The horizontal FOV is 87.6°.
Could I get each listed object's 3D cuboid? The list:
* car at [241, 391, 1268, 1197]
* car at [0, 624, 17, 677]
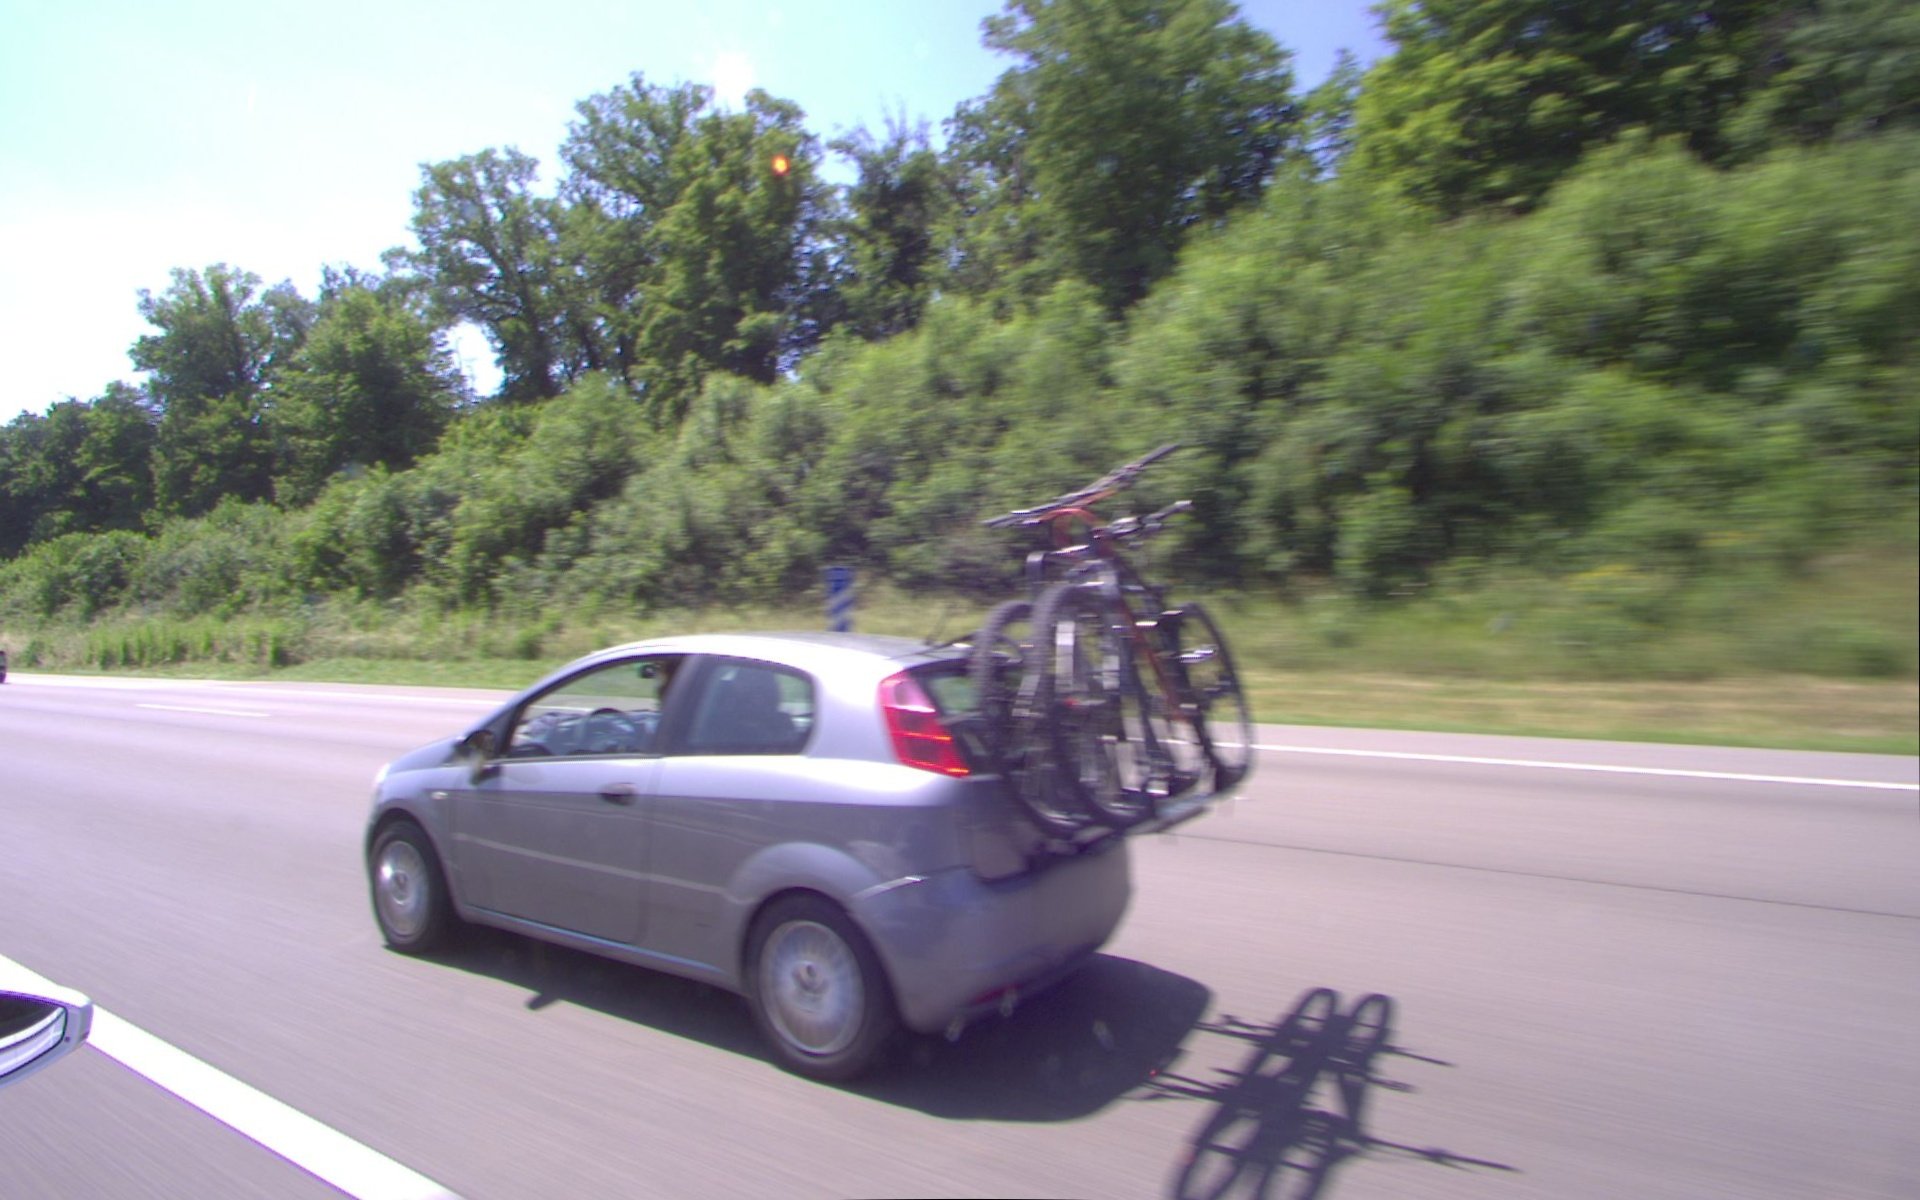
[{"bbox_3d":[-1.198,0.527,4.699,4.716,2.080,1.957,0,-1,33],"label":"car"},{"bbox_3d":[-34.088,1.684,33.981,5.164,1.753,1.798,-1,-2,32],"label":"car"}]
